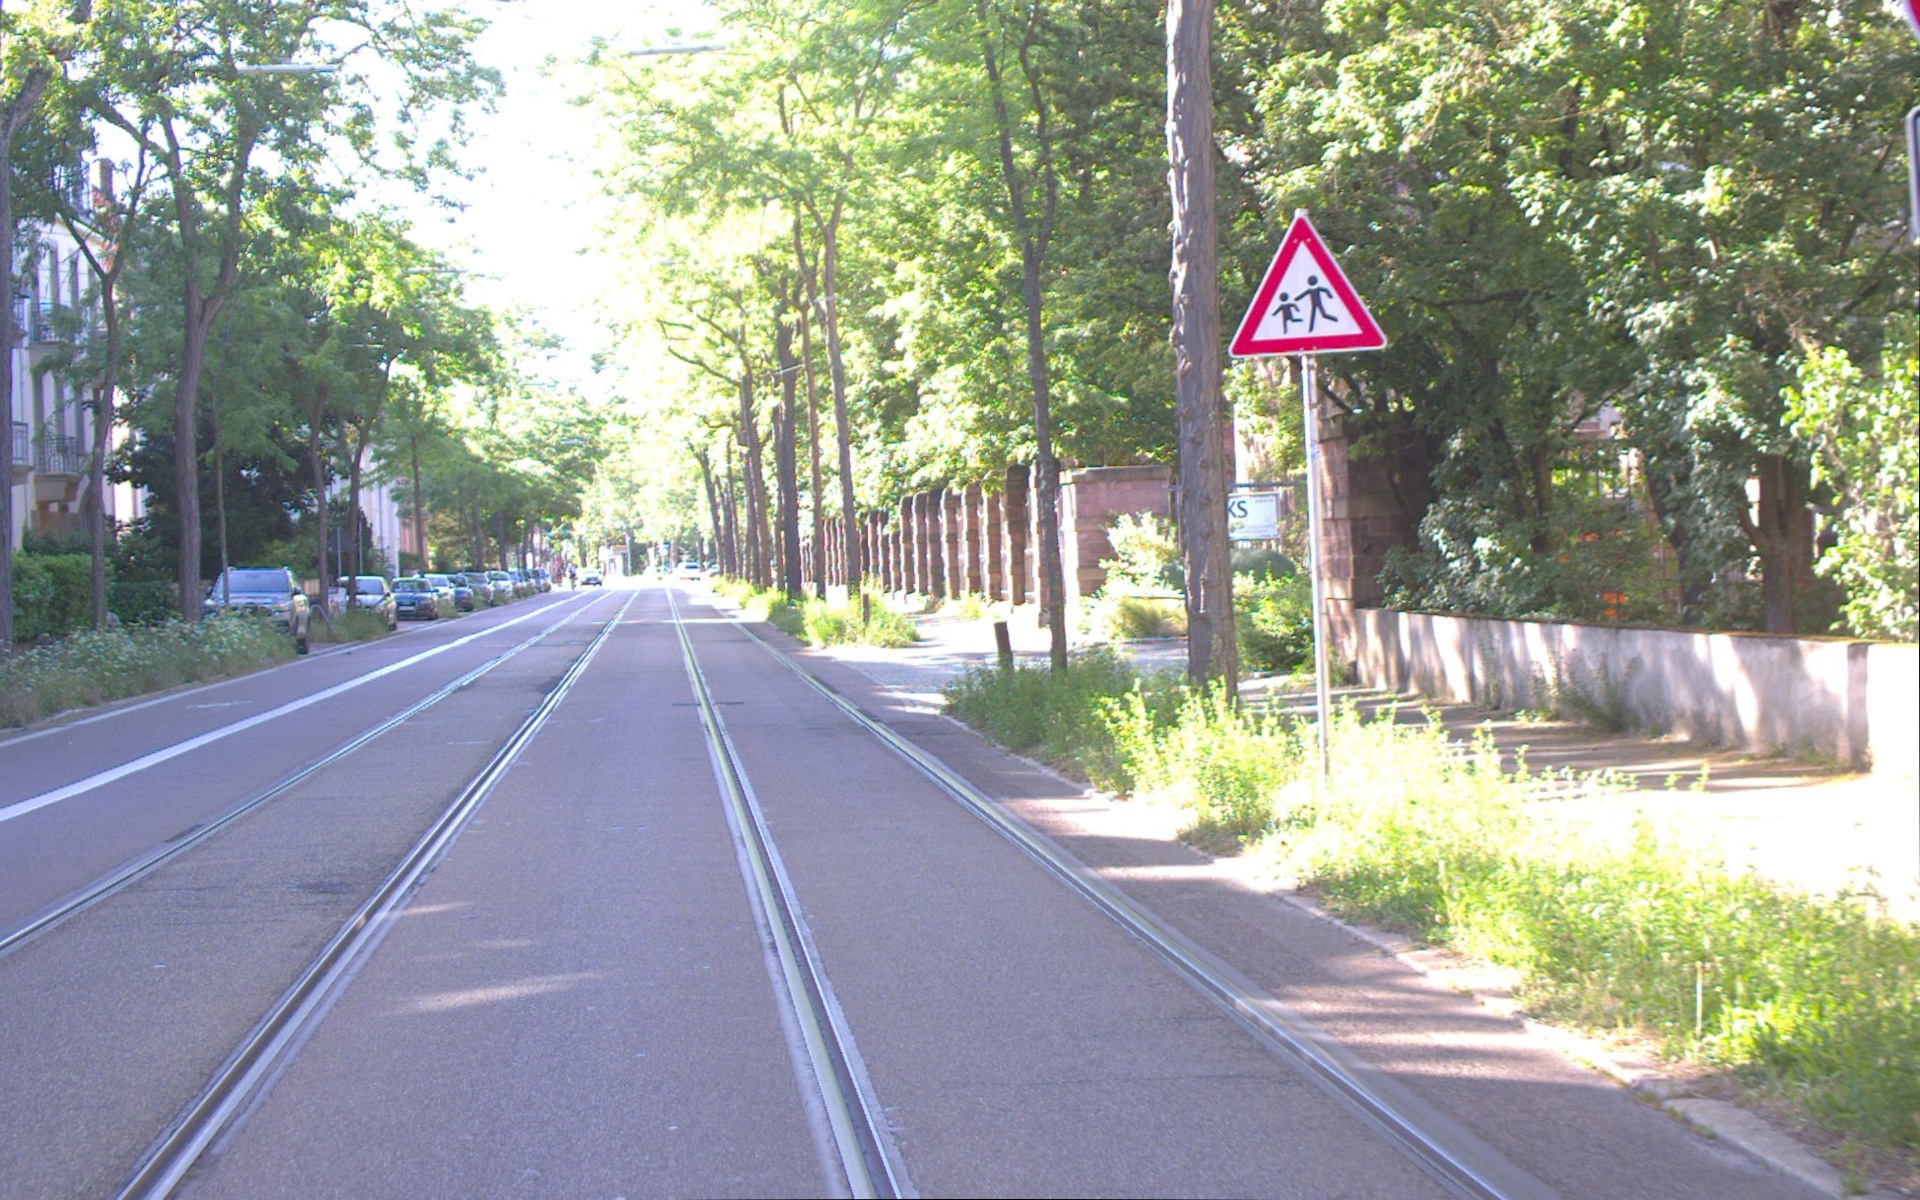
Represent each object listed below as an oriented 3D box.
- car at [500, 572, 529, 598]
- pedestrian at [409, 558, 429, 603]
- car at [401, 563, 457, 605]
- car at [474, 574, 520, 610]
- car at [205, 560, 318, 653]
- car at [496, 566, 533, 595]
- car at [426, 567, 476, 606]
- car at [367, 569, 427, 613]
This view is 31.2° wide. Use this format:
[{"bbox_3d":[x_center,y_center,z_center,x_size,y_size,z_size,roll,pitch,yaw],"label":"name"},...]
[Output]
[{"bbox_3d":[-25.111,-0.850,193.780,1.560,1.452,3.932,1,1,-7],"label":"car"},{"bbox_3d":[-22.128,-0.798,140.573,0.691,1.795,0.813,-2,1,-5],"label":"pedestrian"},{"bbox_3d":[-19.619,-0.608,127.076,1.817,1.506,4.372,-1,1,-6],"label":"car"},{"bbox_3d":[-20.252,-0.357,150.520,1.817,1.480,4.207,-1,1,-5],"label":"car"},{"bbox_3d":[-14.330,0.105,70.759,1.870,1.816,4.773,-1,1,-7],"label":"car"},{"bbox_3d":[-22.863,-1.003,176.390,1.702,1.480,4.079,1,1,-5],"label":"car"},{"bbox_3d":[-20.308,-0.548,137.278,1.757,1.506,4.440,-1,1,-6],"label":"car"},{"bbox_3d":[-18.872,-0.316,115.419,1.705,1.401,4.334,-1,1,-6],"label":"car"}]
